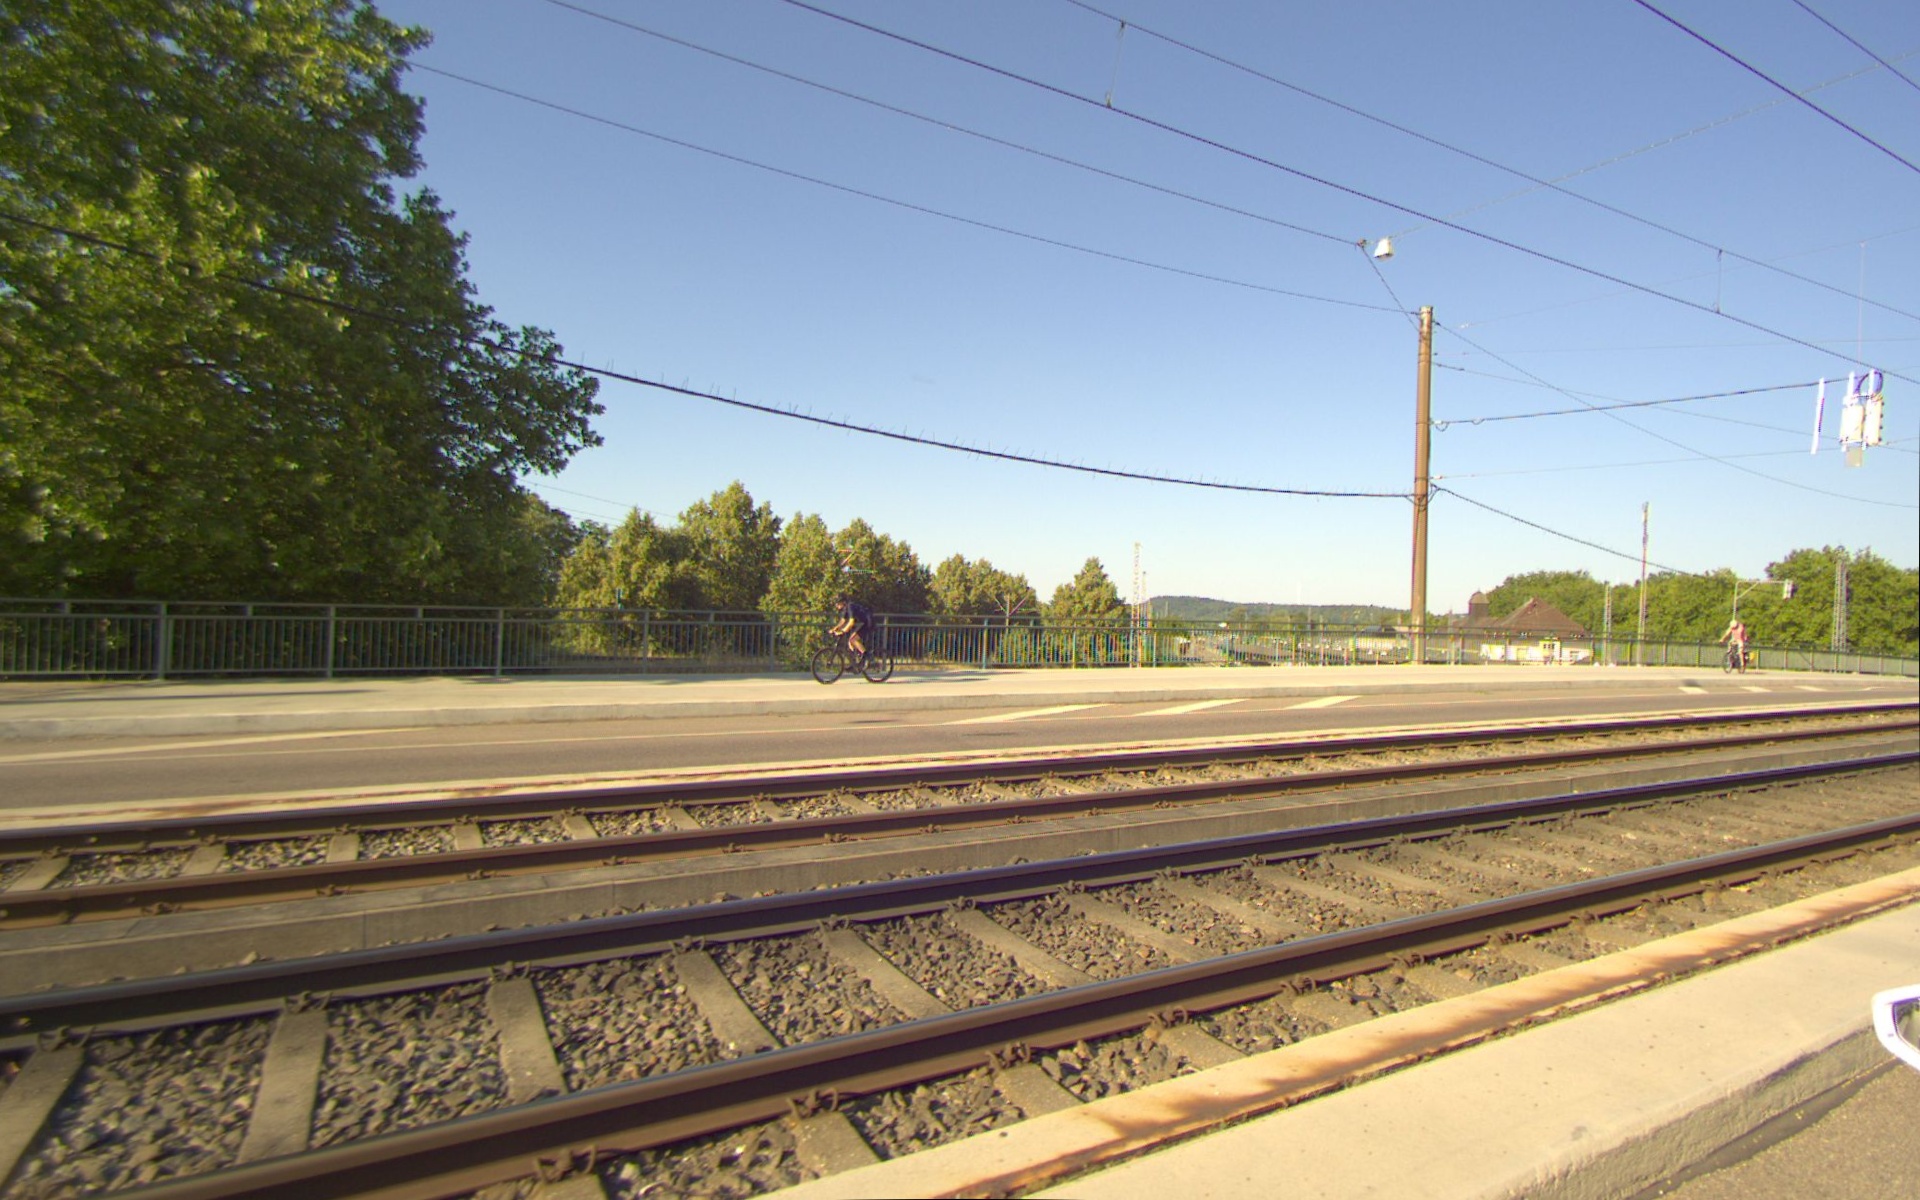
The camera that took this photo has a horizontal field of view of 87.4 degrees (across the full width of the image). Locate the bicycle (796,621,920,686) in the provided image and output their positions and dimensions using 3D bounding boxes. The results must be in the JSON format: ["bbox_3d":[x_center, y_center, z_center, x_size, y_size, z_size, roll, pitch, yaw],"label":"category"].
[{"bbox_3d":[-1.880,1.005,18.712,2.235,1.137,0.621,3,-1,-33],"label":"bicycle"}]

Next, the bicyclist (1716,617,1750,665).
[{"bbox_3d":[27.532,1.446,35.781,0.924,1.655,0.622,3,0,-29],"label":"bicyclist"}]

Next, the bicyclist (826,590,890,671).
[{"bbox_3d":[-1.899,0.563,18.693,0.958,1.451,0.621,3,0,-32],"label":"bicyclist"}]

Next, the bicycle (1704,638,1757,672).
[{"bbox_3d":[27.411,1.970,35.724,2.232,1.137,0.622,3,-1,-29],"label":"bicycle"}]
